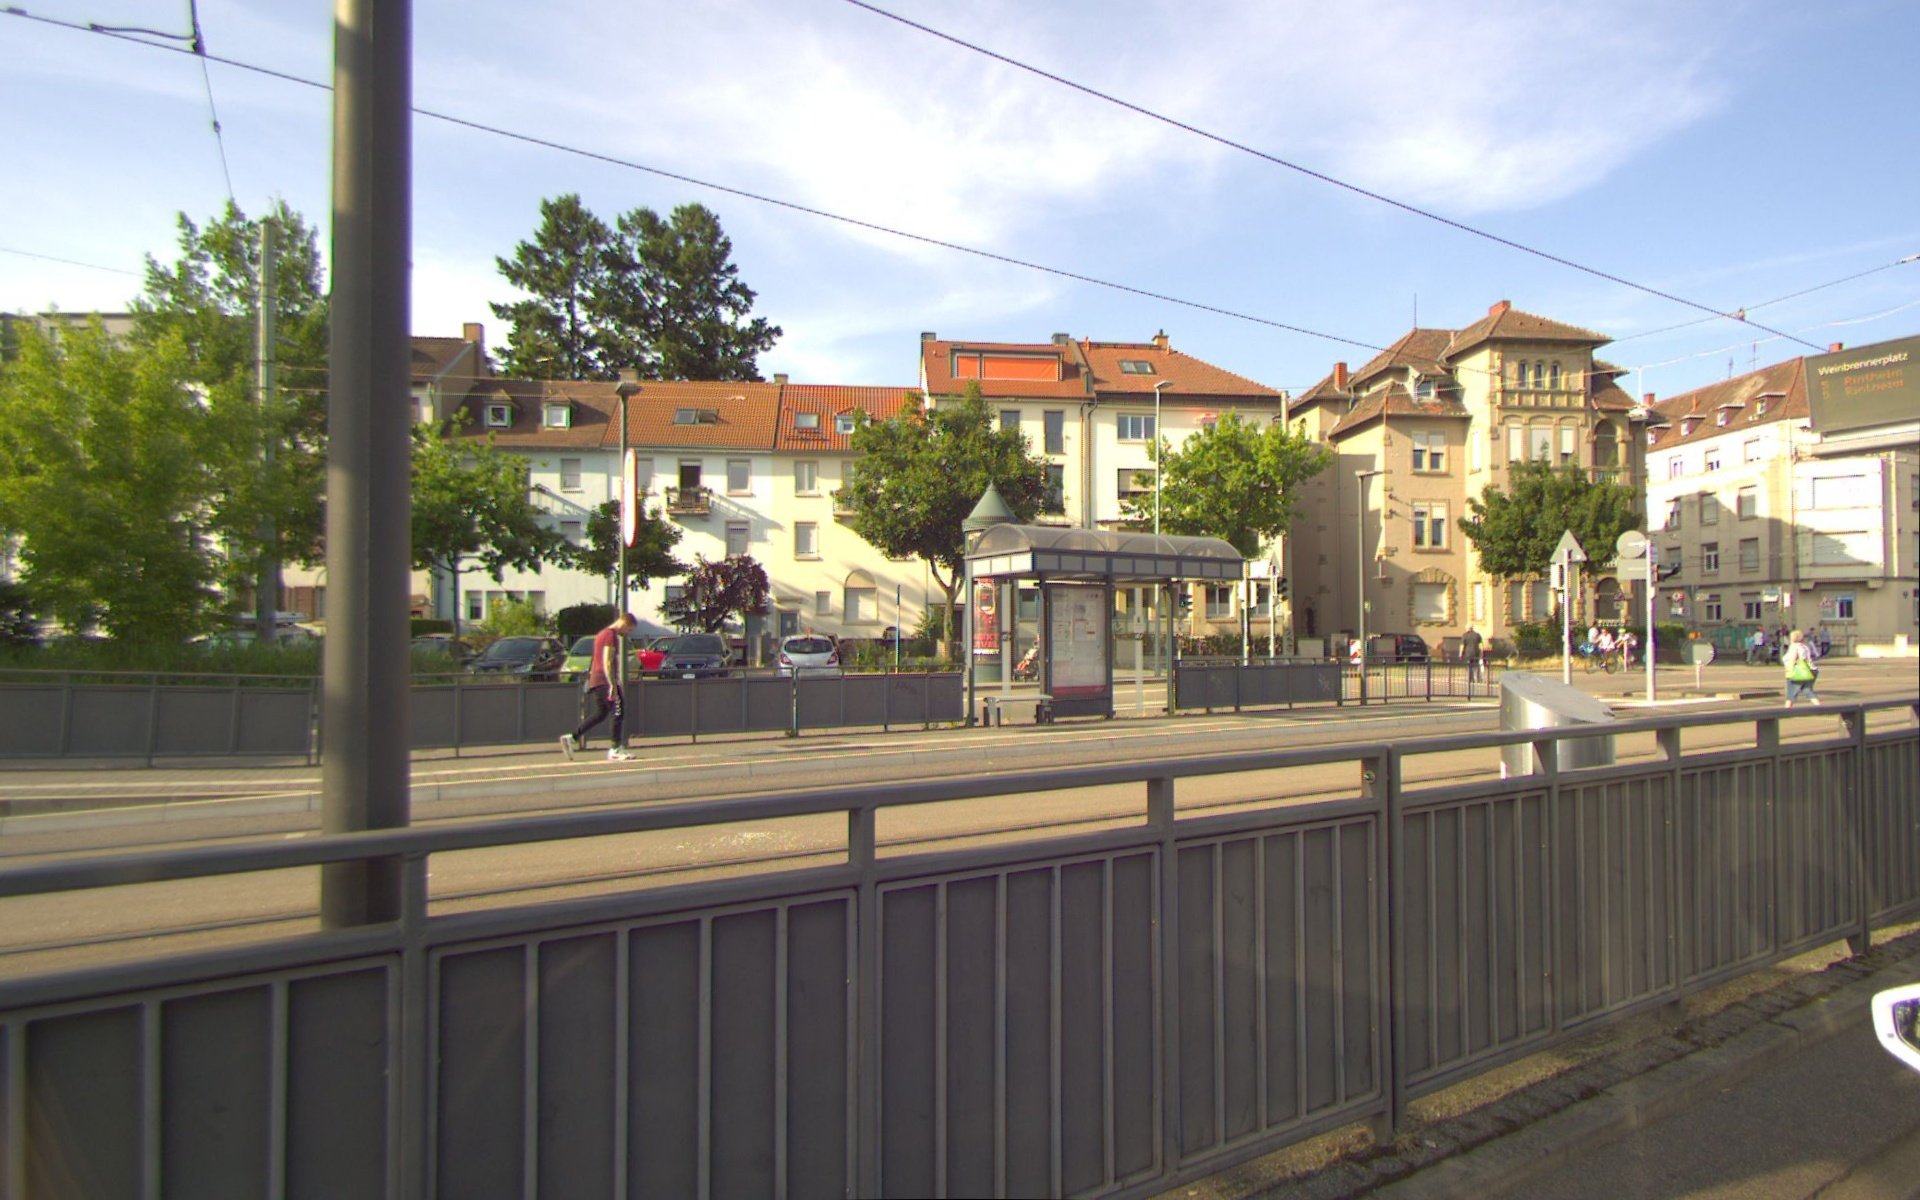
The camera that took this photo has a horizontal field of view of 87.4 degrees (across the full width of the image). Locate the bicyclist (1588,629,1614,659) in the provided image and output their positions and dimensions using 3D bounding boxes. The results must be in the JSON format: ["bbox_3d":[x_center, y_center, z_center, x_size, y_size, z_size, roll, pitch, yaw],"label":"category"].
[{"bbox_3d":[23.214,1.591,36.383,0.670,1.058,0.511,1,-2,-26],"label":"bicyclist"}]

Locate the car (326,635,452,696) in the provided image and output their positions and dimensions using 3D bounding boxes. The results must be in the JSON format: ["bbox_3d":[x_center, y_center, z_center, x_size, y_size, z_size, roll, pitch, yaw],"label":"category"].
[{"bbox_3d":[-14.404,1.601,25.591,1.968,1.416,3.985,0,-2,-18],"label":"car"}]

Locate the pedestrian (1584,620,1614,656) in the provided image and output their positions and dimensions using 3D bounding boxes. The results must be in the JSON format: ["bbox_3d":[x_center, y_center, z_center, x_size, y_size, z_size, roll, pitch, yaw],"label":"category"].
[{"bbox_3d":[28.207,1.678,44.353,0.768,1.572,0.831,0,-2,-8],"label":"pedestrian"}]

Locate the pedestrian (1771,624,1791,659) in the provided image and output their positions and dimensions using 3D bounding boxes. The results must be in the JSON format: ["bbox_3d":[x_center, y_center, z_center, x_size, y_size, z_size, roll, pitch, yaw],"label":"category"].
[{"bbox_3d":[36.468,1.838,44.638,0.540,1.520,0.437,0,-2,-15],"label":"pedestrian"}]

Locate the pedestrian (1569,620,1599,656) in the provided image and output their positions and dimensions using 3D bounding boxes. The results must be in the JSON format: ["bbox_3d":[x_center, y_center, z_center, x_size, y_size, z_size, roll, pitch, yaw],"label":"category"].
[{"bbox_3d":[28.126,1.715,45.276,0.768,1.572,0.831,0,-2,-8],"label":"pedestrian"}]

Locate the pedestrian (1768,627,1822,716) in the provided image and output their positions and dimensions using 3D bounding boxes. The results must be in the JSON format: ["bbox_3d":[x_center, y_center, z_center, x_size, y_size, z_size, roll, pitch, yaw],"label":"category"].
[{"bbox_3d":[15.556,1.313,18.716,0.627,1.620,0.608,1,-2,-36],"label":"pedestrian"}]

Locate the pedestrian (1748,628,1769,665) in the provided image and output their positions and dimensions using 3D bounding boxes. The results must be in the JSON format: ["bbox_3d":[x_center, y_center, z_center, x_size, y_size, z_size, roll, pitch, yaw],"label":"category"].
[{"bbox_3d":[36.133,2.088,45.436,0.600,1.647,0.506,1,-2,-26],"label":"pedestrian"}]

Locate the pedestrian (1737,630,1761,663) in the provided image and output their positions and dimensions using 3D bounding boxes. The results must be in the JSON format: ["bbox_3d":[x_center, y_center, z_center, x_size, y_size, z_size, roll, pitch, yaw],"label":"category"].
[{"bbox_3d":[36.721,2.161,46.759,0.702,1.561,0.626,1,-2,-30],"label":"pedestrian"}]

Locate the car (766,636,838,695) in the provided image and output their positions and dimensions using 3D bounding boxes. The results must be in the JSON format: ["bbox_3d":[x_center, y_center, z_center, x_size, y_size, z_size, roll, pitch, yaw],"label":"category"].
[{"bbox_3d":[-4.349,1.765,27.822,1.815,1.505,3.995,0,-2,-9],"label":"car"}]

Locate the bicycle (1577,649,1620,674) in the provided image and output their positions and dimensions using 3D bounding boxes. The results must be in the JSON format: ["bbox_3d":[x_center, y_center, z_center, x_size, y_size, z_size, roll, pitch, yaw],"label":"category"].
[{"bbox_3d":[23.069,2.212,36.299,1.664,0.845,0.524,1,-2,-26],"label":"bicycle"}]

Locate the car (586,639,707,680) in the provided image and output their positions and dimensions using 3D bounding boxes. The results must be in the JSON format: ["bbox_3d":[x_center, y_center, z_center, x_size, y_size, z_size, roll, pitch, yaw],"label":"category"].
[{"bbox_3d":[-11.227,2.122,36.244,3.927,1.416,1.836,0,-2,-9],"label":"car"}]

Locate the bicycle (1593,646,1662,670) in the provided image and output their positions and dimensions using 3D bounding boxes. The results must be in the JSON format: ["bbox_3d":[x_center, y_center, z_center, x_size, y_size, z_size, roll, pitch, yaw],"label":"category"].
[{"bbox_3d":[26.788,2.303,40.283,2.954,0.926,0.783,1,-2,-22],"label":"bicycle"}]

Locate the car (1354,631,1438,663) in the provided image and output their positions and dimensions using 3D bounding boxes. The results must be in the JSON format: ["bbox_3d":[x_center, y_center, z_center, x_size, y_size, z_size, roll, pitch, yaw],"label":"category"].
[{"bbox_3d":[20.369,2.172,47.126,1.732,1.327,4.111,2,0,-7],"label":"car"}]

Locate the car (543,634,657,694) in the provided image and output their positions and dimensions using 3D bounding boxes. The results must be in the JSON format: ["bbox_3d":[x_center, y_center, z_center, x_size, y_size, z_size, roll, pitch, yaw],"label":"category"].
[{"bbox_3d":[-9.646,1.685,27.262,1.813,1.505,3.999,0,-2,-3],"label":"car"}]

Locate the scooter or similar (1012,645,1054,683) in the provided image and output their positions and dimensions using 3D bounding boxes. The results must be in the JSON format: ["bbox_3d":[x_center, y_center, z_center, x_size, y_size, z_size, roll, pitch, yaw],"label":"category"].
[{"bbox_3d":[1.958,1.701,26.904,1.006,1.001,0.556,0,-2,-15],"label":"scooter or similar"}]

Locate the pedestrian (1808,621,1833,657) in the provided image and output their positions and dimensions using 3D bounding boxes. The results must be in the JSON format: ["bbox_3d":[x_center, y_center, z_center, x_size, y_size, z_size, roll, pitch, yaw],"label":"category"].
[{"bbox_3d":[49.386,2.243,57.634,0.773,2.040,0.775,0,-2,-15],"label":"pedestrian"}]

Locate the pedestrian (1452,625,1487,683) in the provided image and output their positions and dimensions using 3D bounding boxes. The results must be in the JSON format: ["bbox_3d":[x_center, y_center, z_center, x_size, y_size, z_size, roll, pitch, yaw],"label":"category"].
[{"bbox_3d":[14.888,1.566,29.374,0.778,1.667,0.757,-1,-2,16],"label":"pedestrian"}]

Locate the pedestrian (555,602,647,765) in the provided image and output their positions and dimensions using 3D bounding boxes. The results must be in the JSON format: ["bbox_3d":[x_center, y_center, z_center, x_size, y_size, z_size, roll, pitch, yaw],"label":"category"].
[{"bbox_3d":[-3.930,0.906,10.995,0.867,1.706,0.551,1,-5,-30],"label":"pedestrian"}]

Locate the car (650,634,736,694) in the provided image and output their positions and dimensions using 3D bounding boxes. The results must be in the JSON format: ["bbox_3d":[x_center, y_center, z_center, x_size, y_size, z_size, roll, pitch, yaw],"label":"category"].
[{"bbox_3d":[-7.166,1.683,27.283,1.815,1.505,3.995,0,-2,-9],"label":"car"}]

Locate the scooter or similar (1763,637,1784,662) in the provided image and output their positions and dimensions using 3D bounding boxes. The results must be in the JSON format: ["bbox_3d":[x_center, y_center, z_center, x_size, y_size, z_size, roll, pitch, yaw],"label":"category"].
[{"bbox_3d":[36.861,2.226,45.520,0.675,1.093,0.541,2,0,-30],"label":"scooter or similar"}]

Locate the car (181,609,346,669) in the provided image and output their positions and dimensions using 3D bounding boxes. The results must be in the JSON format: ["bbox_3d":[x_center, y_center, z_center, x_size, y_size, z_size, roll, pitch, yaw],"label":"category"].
[{"bbox_3d":[-18.665,1.053,27.168,1.813,1.505,3.999,0,-2,-3],"label":"car"}]

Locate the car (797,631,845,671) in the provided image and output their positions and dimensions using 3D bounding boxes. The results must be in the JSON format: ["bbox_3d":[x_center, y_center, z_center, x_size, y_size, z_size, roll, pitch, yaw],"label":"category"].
[{"bbox_3d":[-6.059,2.198,44.204,1.962,1.684,3.997,0,-2,-6],"label":"car"}]

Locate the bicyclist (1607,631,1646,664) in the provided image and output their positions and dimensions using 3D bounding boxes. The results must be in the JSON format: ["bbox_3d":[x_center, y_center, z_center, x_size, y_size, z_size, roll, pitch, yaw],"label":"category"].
[{"bbox_3d":[26.727,1.890,40.268,1.157,1.278,0.762,1,-2,-22],"label":"bicyclist"}]

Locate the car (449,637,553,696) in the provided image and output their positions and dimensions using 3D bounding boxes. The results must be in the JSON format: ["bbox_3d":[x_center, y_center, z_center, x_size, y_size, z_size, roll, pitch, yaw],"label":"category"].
[{"bbox_3d":[-11.883,1.676,26.251,1.968,1.416,3.985,0,-2,-18],"label":"car"}]

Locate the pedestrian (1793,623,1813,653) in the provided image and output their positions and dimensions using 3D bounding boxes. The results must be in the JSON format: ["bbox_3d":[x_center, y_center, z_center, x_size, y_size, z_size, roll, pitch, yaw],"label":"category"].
[{"bbox_3d":[48.389,2.173,57.653,0.576,1.682,0.620,0,-2,-14],"label":"pedestrian"}]
